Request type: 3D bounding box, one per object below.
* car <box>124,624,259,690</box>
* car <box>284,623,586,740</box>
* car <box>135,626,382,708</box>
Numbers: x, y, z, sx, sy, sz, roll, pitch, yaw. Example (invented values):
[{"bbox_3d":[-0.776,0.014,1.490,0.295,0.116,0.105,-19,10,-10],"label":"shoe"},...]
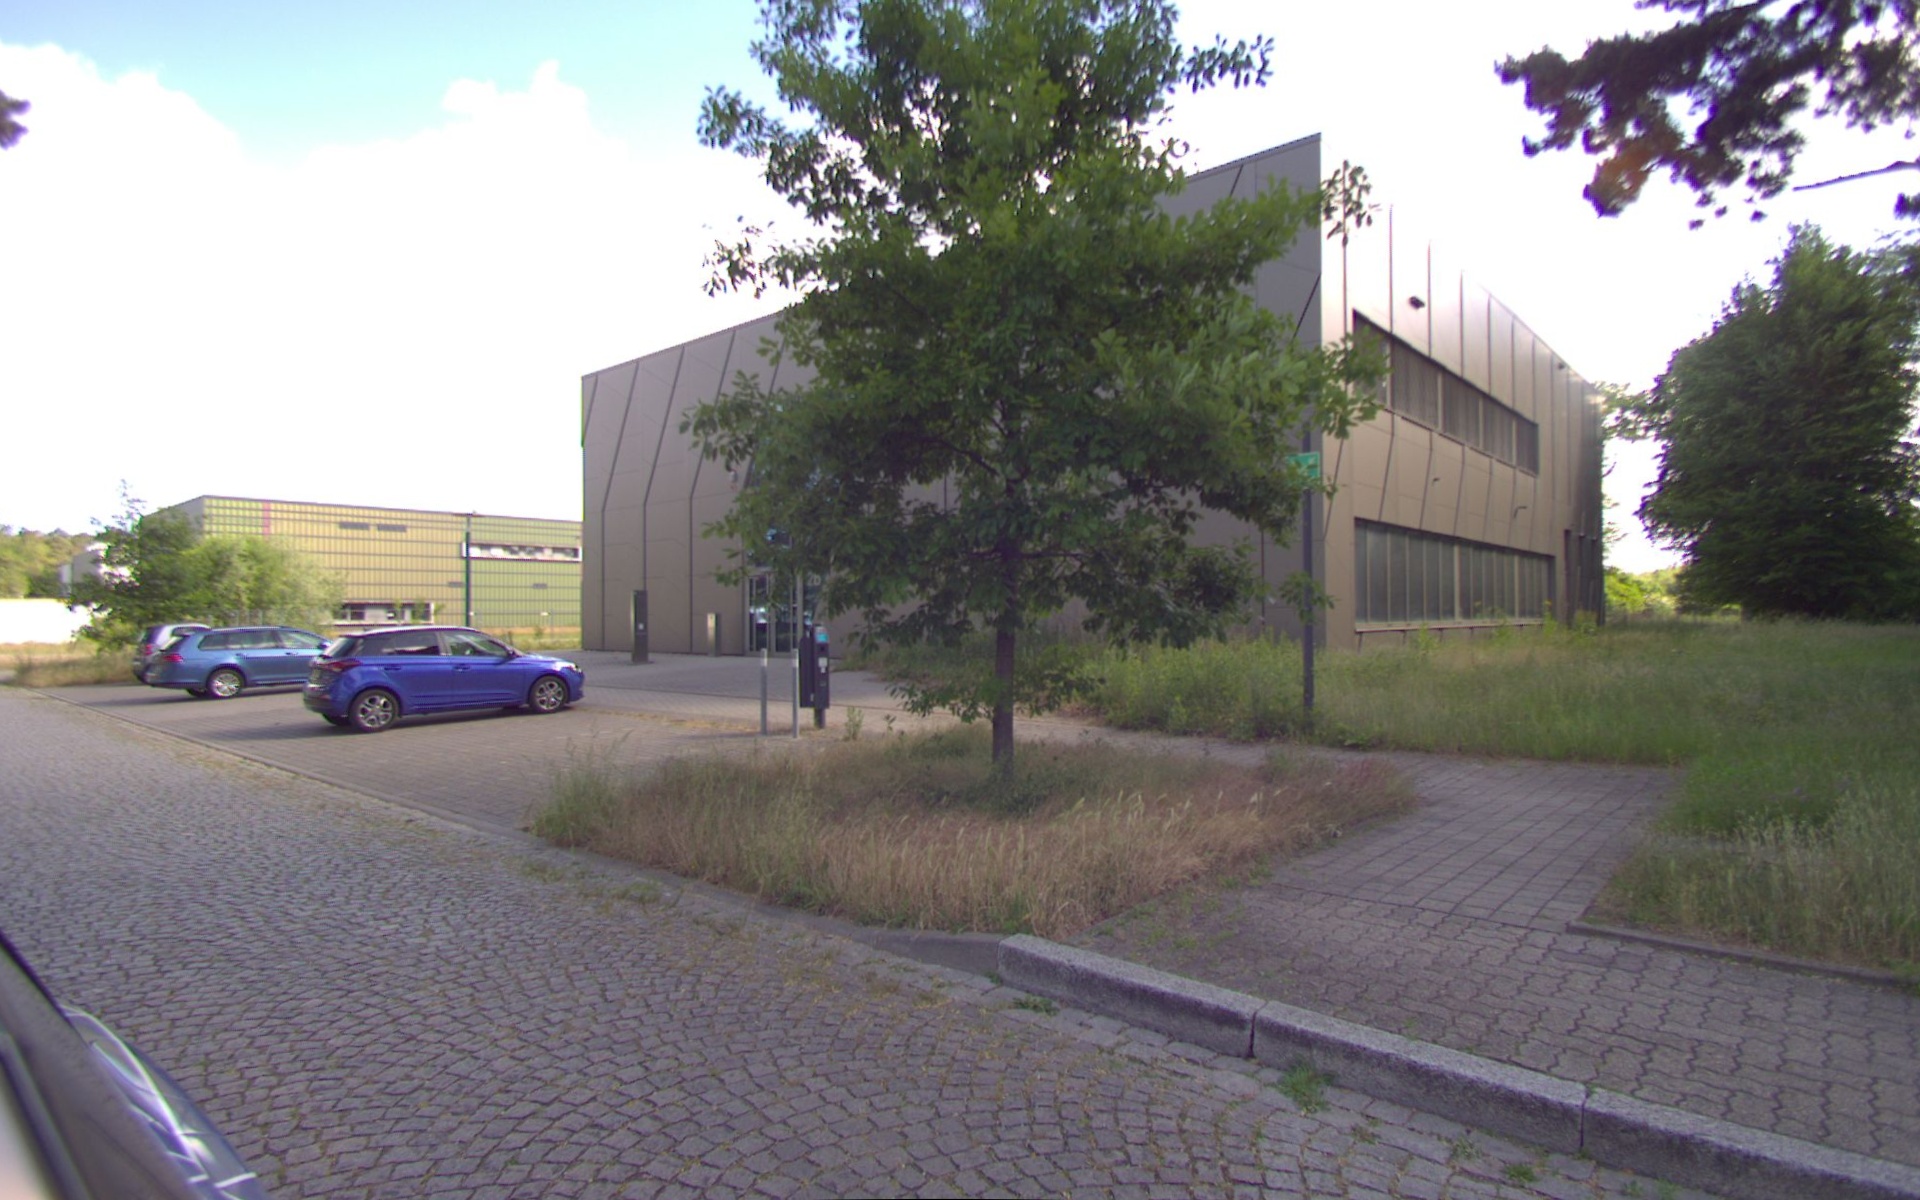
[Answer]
[{"bbox_3d":[-20.634,1.495,27.215,1.480,1.580,2.619,-2,0,40],"label":"car"},{"bbox_3d":[-8.140,1.171,15.930,1.735,1.479,3.865,-2,0,44],"label":"car"},{"bbox_3d":[-15.235,1.378,22.169,1.733,1.485,4.128,-2,0,39],"label":"car"}]
